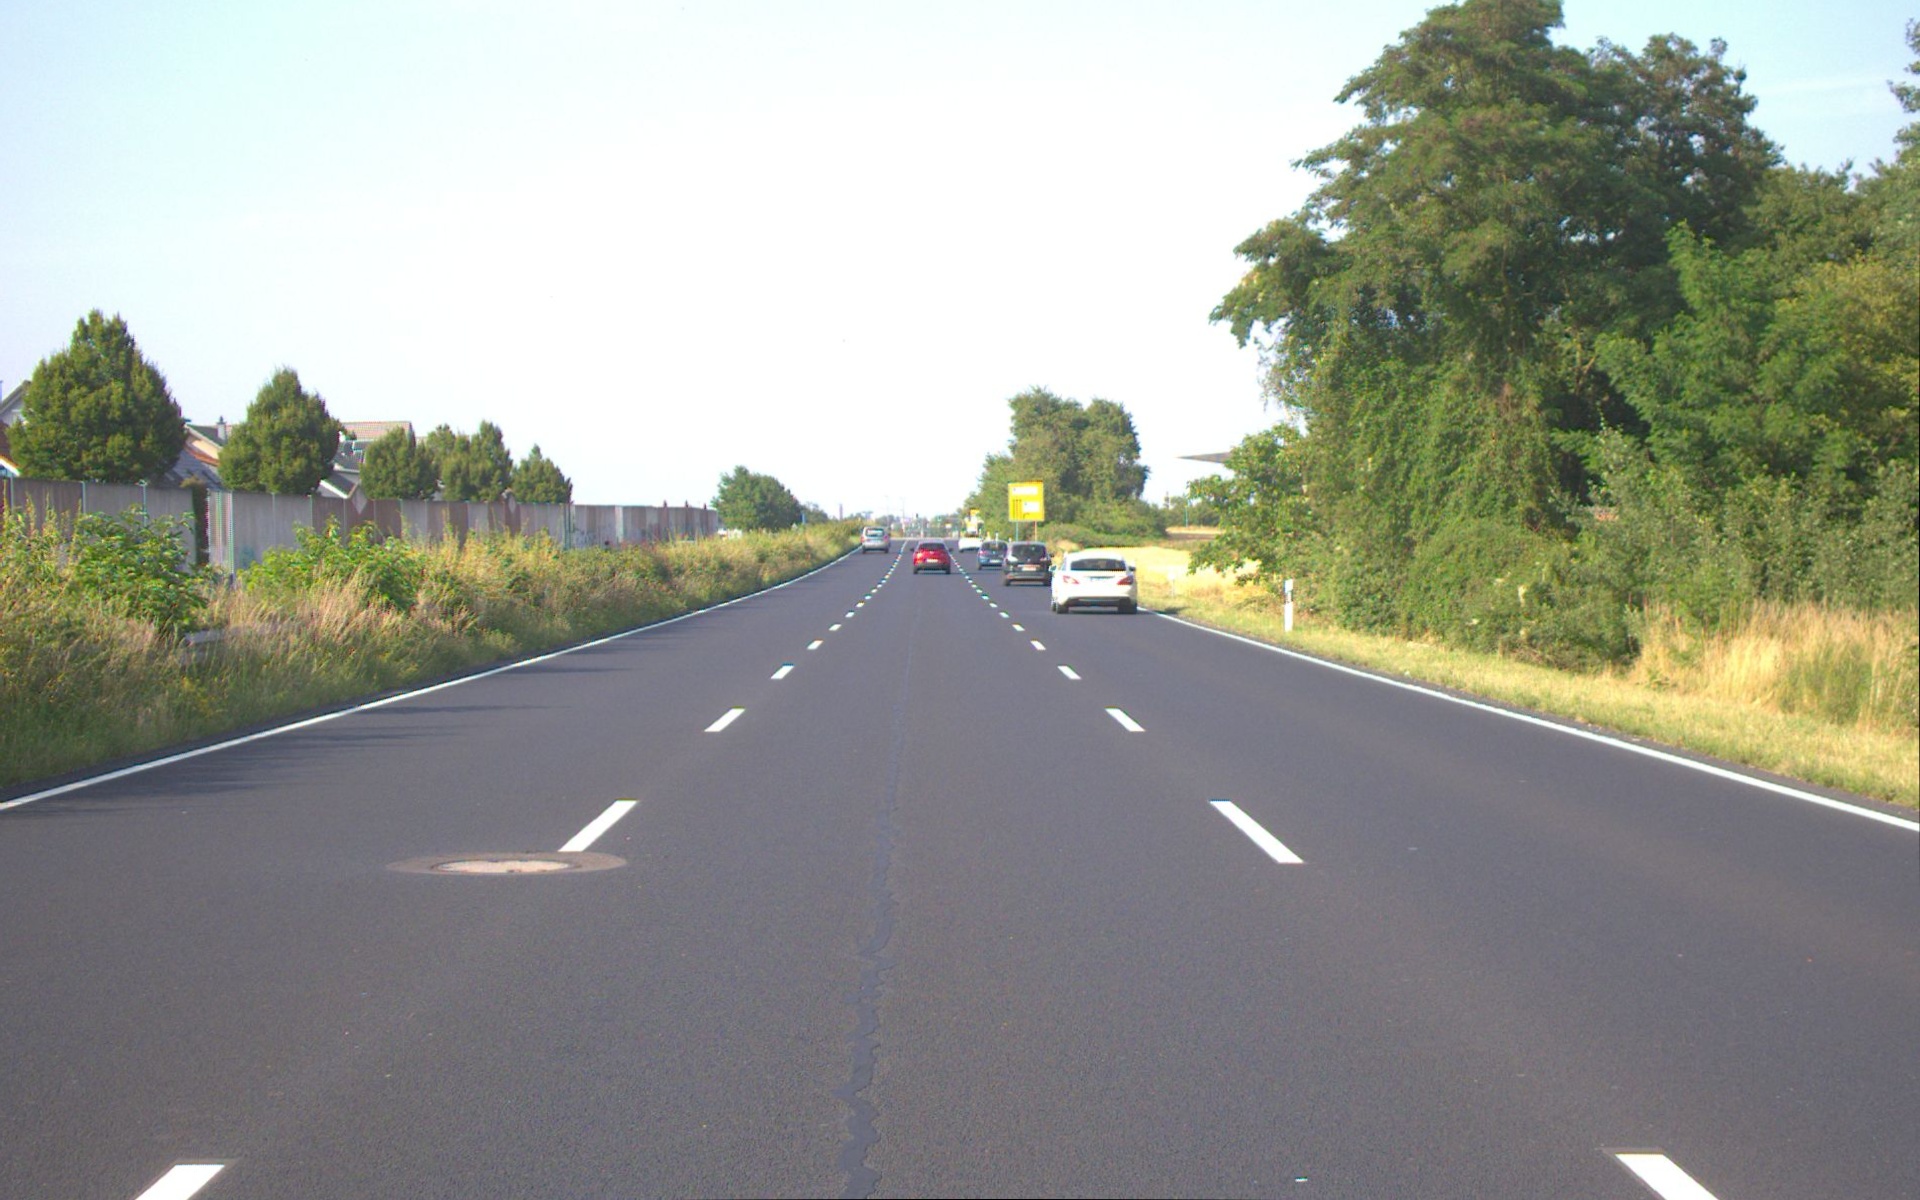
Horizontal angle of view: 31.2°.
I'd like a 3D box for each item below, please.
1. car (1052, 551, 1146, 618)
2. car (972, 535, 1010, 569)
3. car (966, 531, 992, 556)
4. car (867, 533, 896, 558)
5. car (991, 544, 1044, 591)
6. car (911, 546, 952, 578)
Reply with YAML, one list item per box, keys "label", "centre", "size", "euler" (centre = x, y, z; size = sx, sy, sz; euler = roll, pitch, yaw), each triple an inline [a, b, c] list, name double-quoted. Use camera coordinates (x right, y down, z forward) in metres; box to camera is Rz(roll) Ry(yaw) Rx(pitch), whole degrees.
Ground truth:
- label: "car"
  centre: [3.241, -0.375, 80.896]
  size: [1.993, 1.511, 4.000]
  euler: [1, 0, -1]
- label: "car"
  centre: [1.573, -2.439, 175.396]
  size: [1.834, 1.711, 3.862]
  euler: [1, 0, 0]
- label: "car"
  centre: [1.338, -4.103, 249.022]
  size: [1.847, 1.744, 4.000]
  euler: [1, 0, 0]
- label: "car"
  centre: [-5.596, -3.880, 244.718]
  size: [1.993, 1.711, 4.000]
  euler: [1, 0, -1]
- label: "car"
  centre: [2.121, -1.206, 128.075]
  size: [1.828, 1.722, 4.000]
  euler: [1, 0, -1]
- label: "car"
  centre: [-1.337, -1.750, 159.585]
  size: [1.812, 1.431, 3.859]
  euler: [1, 0, -1]
